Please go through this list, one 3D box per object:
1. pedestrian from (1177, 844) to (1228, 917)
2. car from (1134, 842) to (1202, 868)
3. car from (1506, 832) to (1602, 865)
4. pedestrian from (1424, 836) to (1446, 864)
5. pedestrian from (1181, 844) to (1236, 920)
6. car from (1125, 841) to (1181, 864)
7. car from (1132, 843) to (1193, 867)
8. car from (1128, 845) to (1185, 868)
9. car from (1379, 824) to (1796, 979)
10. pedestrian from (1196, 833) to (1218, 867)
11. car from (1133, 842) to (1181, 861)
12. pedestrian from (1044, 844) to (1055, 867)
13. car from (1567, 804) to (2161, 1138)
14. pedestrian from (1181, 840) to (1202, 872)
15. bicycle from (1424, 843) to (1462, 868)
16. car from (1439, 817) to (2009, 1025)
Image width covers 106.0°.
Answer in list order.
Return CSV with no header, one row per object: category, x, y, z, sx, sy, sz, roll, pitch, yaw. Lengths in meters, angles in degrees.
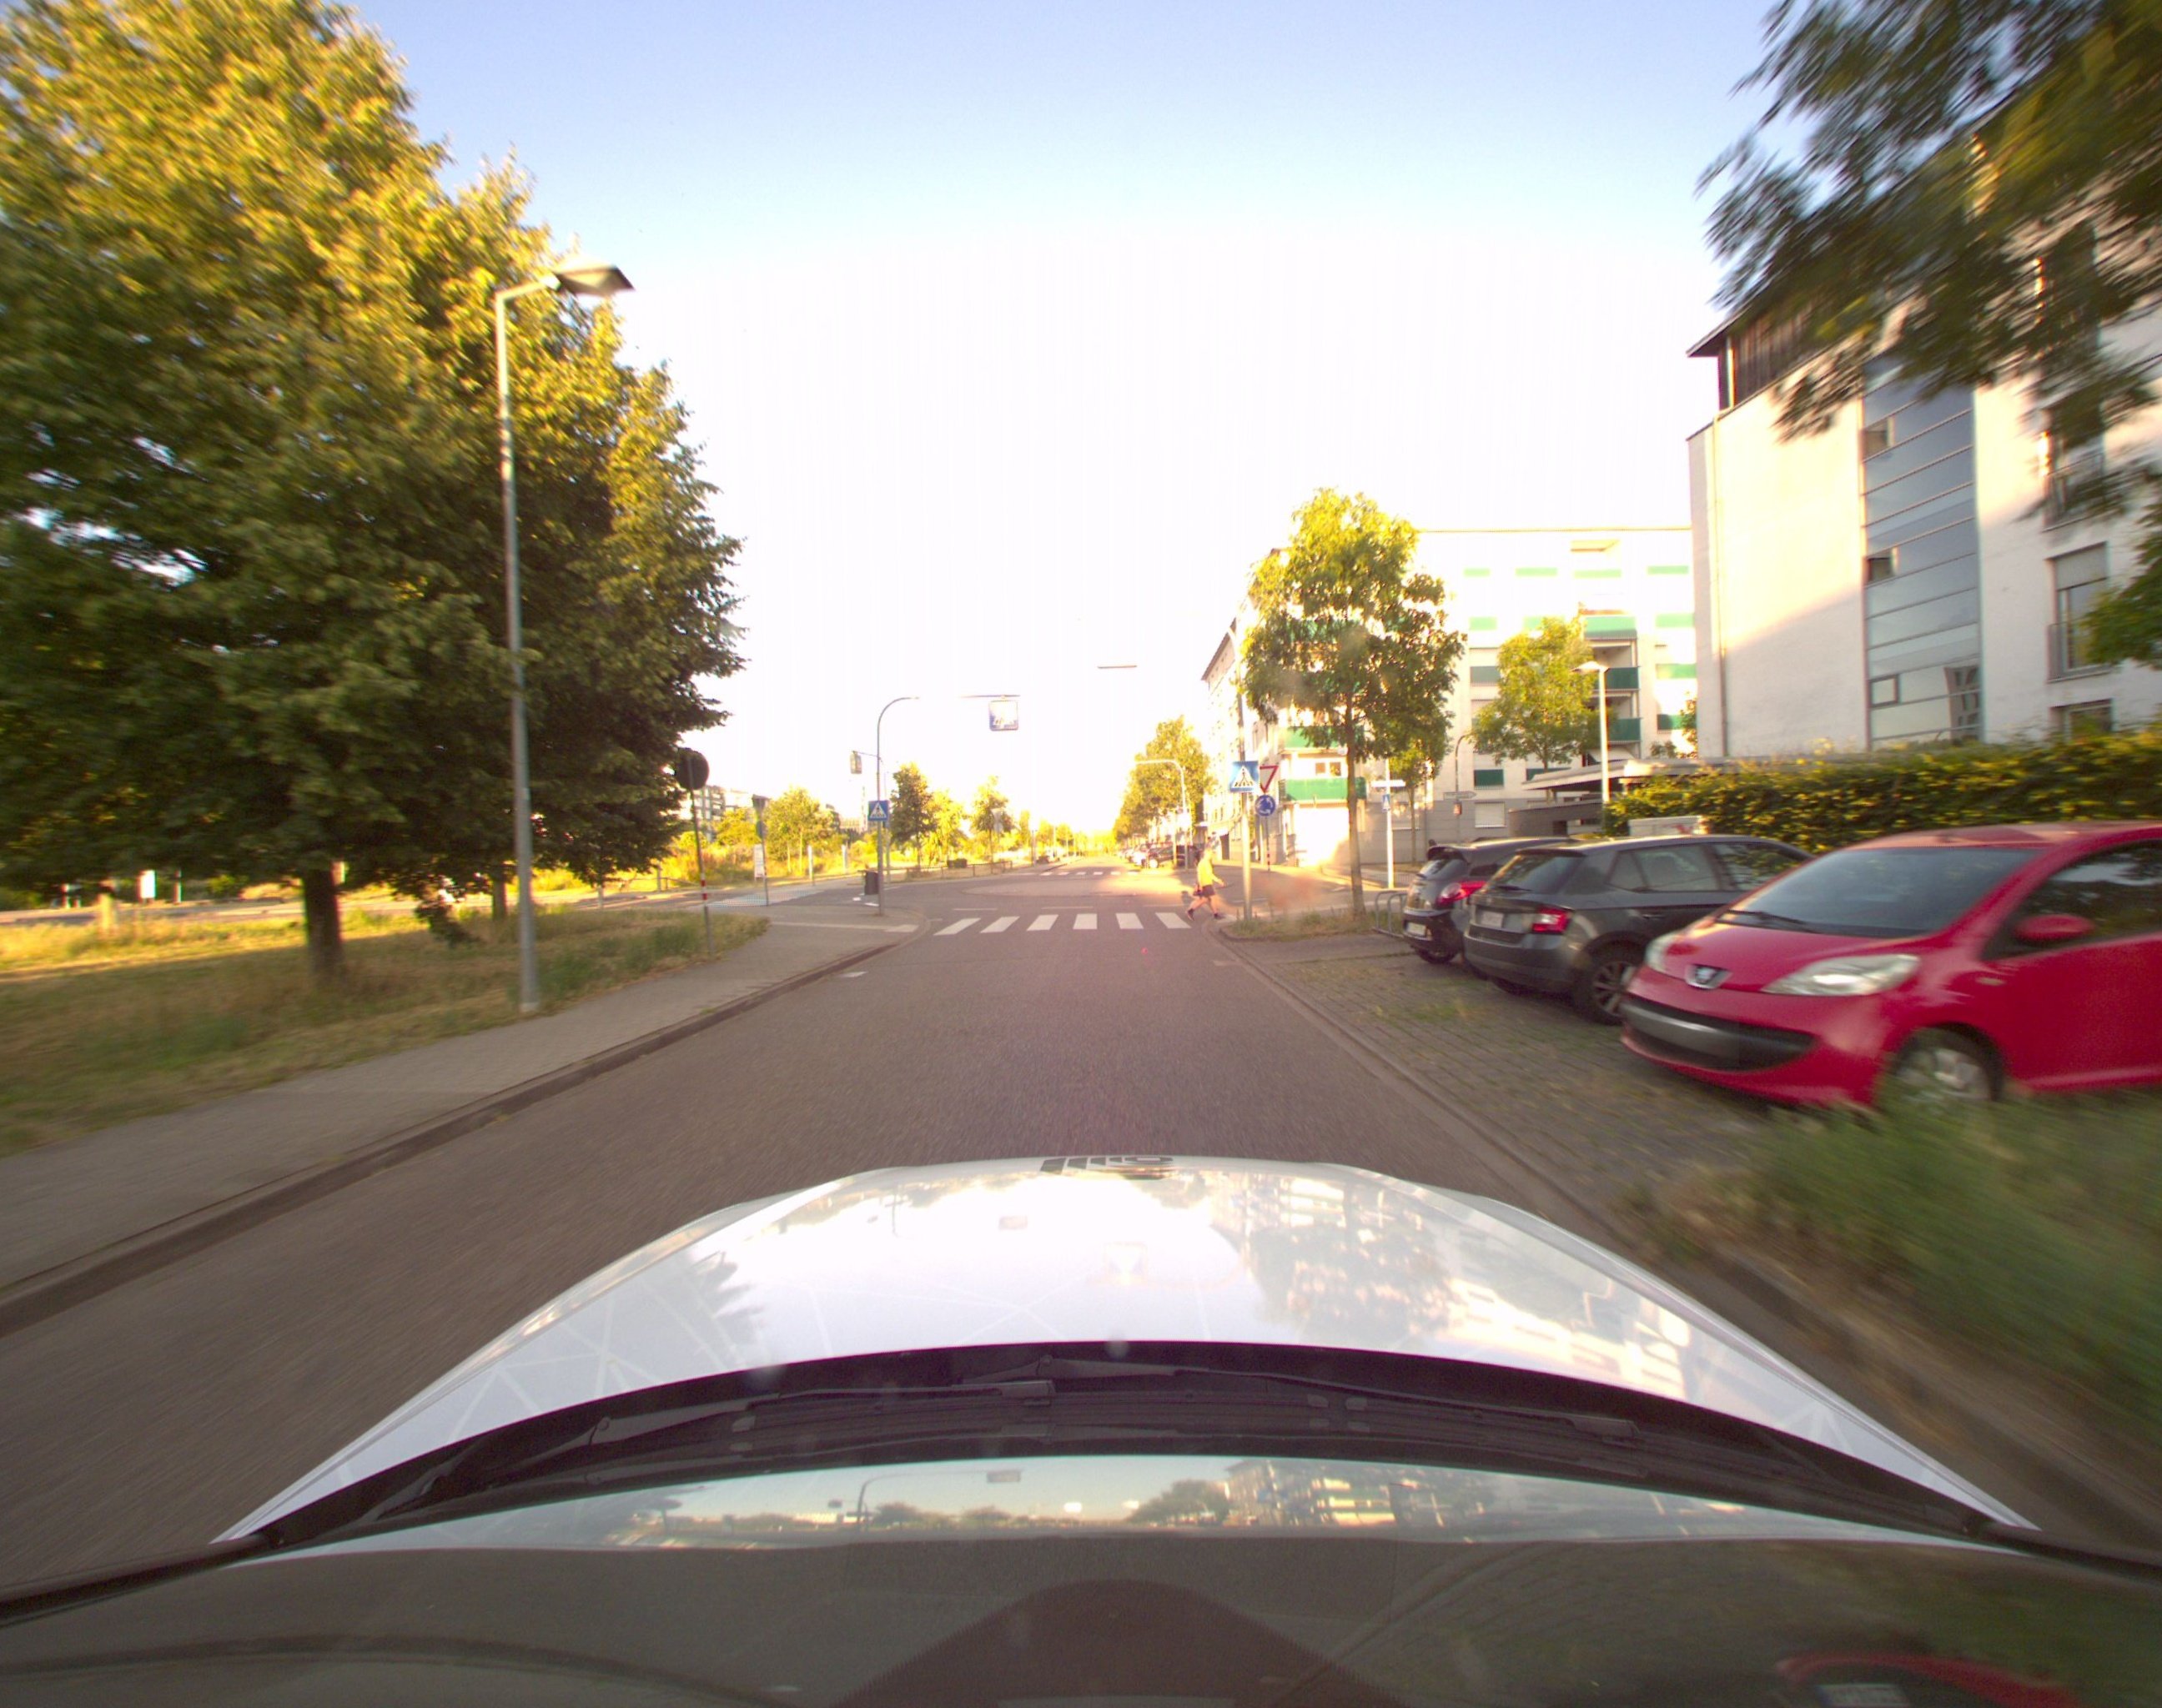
pedestrian,2.916,0.626,19.609,0.983,1.693,0.697,-2,0,-10
car,5.851,0.069,55.143,4.467,1.596,2.001,-2,0,2
car,23.084,-0.266,39.960,1.987,1.453,4.592,-2,0,0
pedestrian,17.431,-0.196,40.106,0.655,1.355,0.802,-2,0,-2
pedestrian,2.956,0.634,18.912,1.018,1.693,0.757,-2,0,-10
car,6.883,-0.152,78.306,4.992,2.045,2.248,-2,0,-3
car,5.977,0.097,60.295,4.338,1.596,2.001,-2,0,2
car,5.808,0.165,63.032,4.246,1.596,2.001,-2,0,2
car,5.717,0.526,9.578,3.786,1.508,1.680,-2,-1,3
pedestrian,7.593,-0.227,49.047,0.854,2.013,0.932,-2,0,-43
car,7.009,-0.237,75.245,4.249,1.596,2.000,-2,0,0
pedestrian,-2.915,0.116,74.428,0.866,2.013,0.787,-2,0,-9
car,5.211,0.509,4.702,3.791,1.508,1.678,-2,0,-1
pedestrian,6.090,0.109,44.914,1.002,1.788,0.761,-1,0,-5
bicycle,17.452,0.077,39.341,0.694,1.151,2.459,-2,0,-1
car,5.481,0.525,7.302,3.791,1.508,1.678,-2,0,-1
